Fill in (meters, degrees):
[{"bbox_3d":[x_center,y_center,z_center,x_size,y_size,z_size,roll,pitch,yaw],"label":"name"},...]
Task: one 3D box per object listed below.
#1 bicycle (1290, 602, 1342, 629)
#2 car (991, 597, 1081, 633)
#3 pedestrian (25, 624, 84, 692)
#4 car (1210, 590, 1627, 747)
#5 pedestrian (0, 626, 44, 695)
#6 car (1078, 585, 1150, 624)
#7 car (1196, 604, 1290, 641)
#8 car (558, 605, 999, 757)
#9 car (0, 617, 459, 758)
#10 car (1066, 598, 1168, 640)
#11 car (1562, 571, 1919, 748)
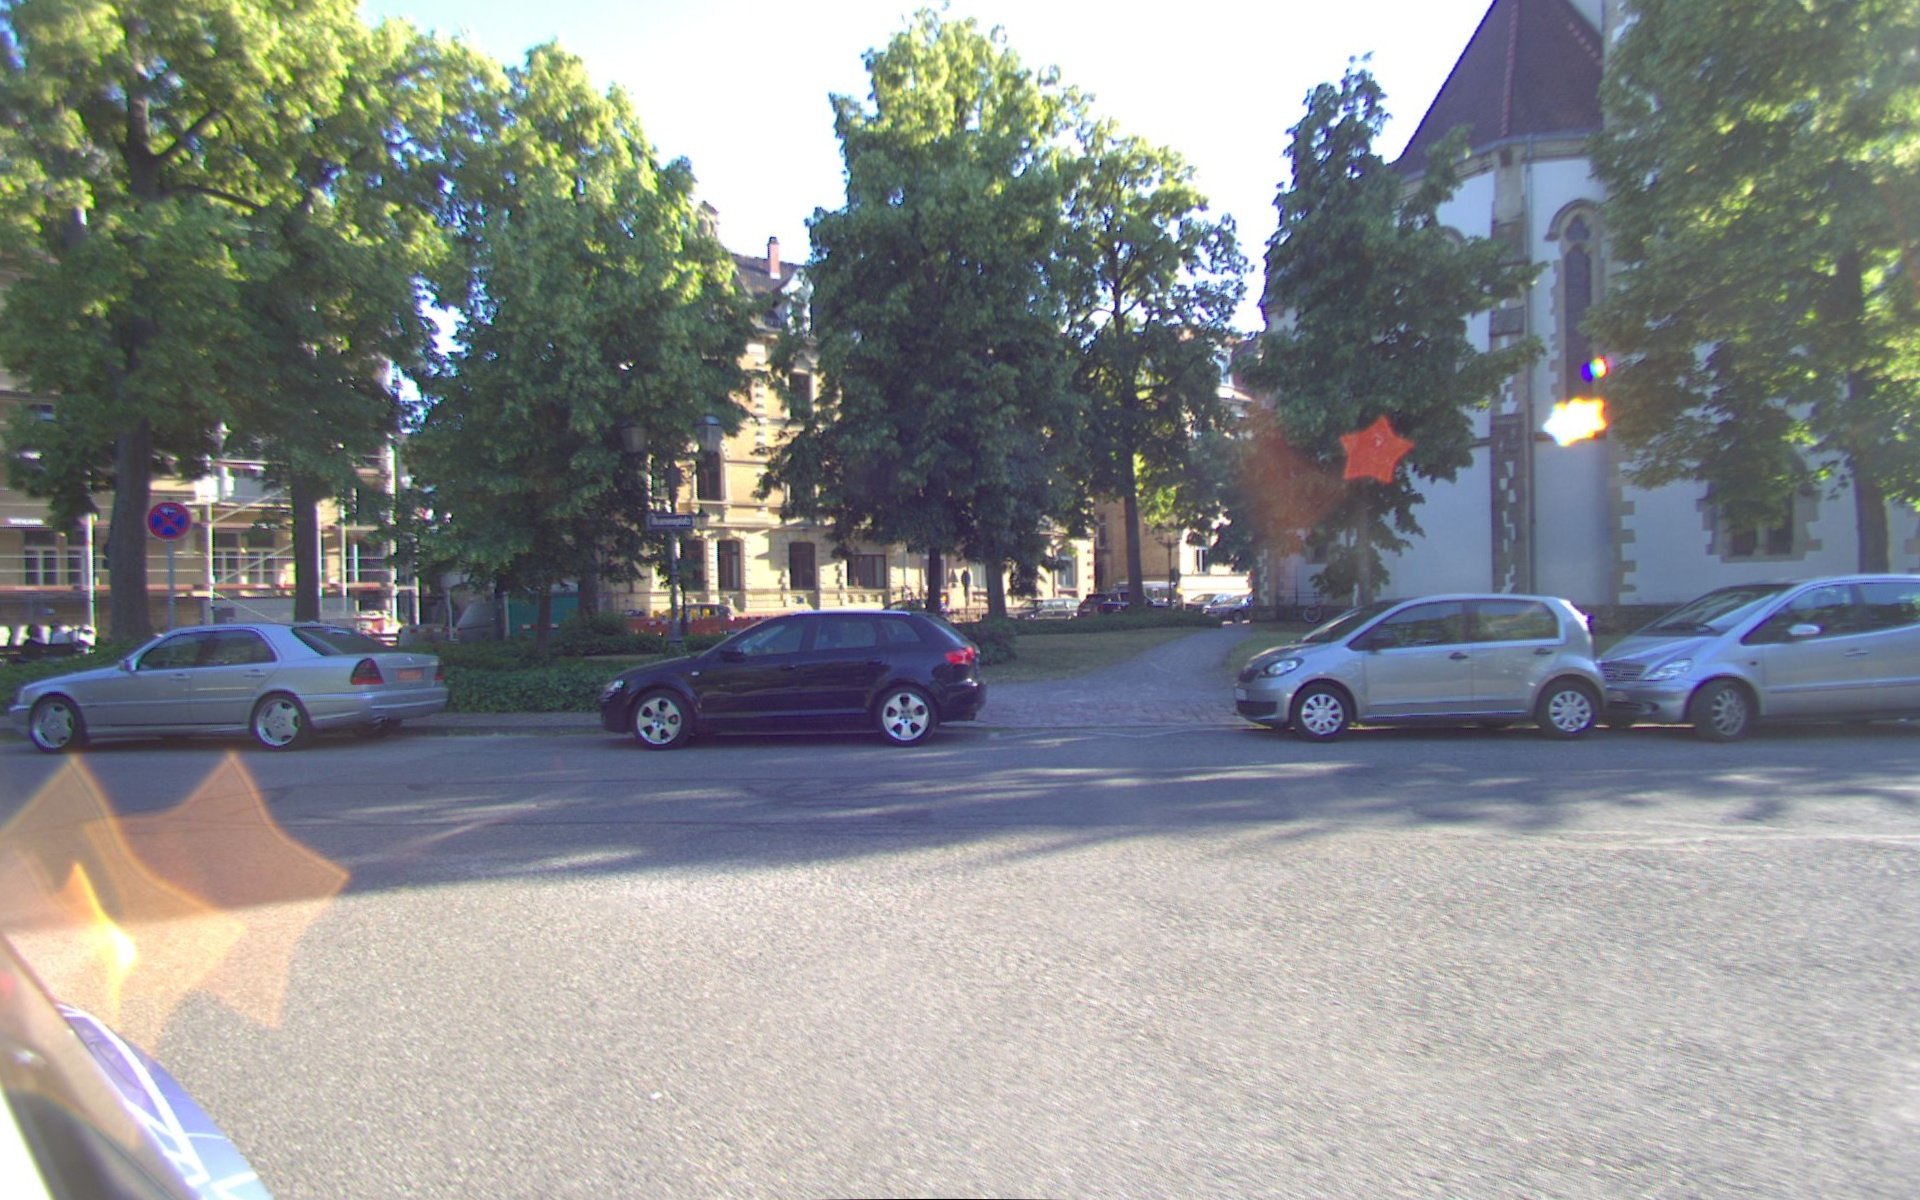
[{"bbox_3d":[12.665,0.557,36.091,0.416,0.925,1.889,-1,0,-31],"label":"bicycle"},{"bbox_3d":[3.810,0.723,50.611,4.150,1.668,2.005,-1,0,-34],"label":"car"},{"bbox_3d":[-17.007,1.081,19.017,0.719,1.242,0.549,-2,-1,19],"label":"pedestrian"},{"bbox_3d":[4.612,0.693,10.602,3.558,1.451,1.616,-1,-2,3],"label":"car"},{"bbox_3d":[-17.381,1.102,18.534,0.877,1.204,0.549,-2,-1,19],"label":"pedestrian"},{"bbox_3d":[9.292,0.297,61.317,1.860,2.278,4.231,-1,-1,-34],"label":"car"},{"bbox_3d":[13.593,1.072,48.611,4.147,1.668,1.898,-1,-1,-28],"label":"car"},{"bbox_3d":[-1.809,0.854,11.015,4.435,1.426,1.829,-1,-2,3],"label":"car"},{"bbox_3d":[-8.417,0.987,11.719,4.442,1.426,1.782,-1,-2,6],"label":"car"},{"bbox_3d":[6.814,0.797,43.809,4.150,1.668,1.896,-1,-1,-35],"label":"car"},{"bbox_3d":[8.451,0.538,10.216,3.646,1.591,1.709,-1,0,2],"label":"car"}]
